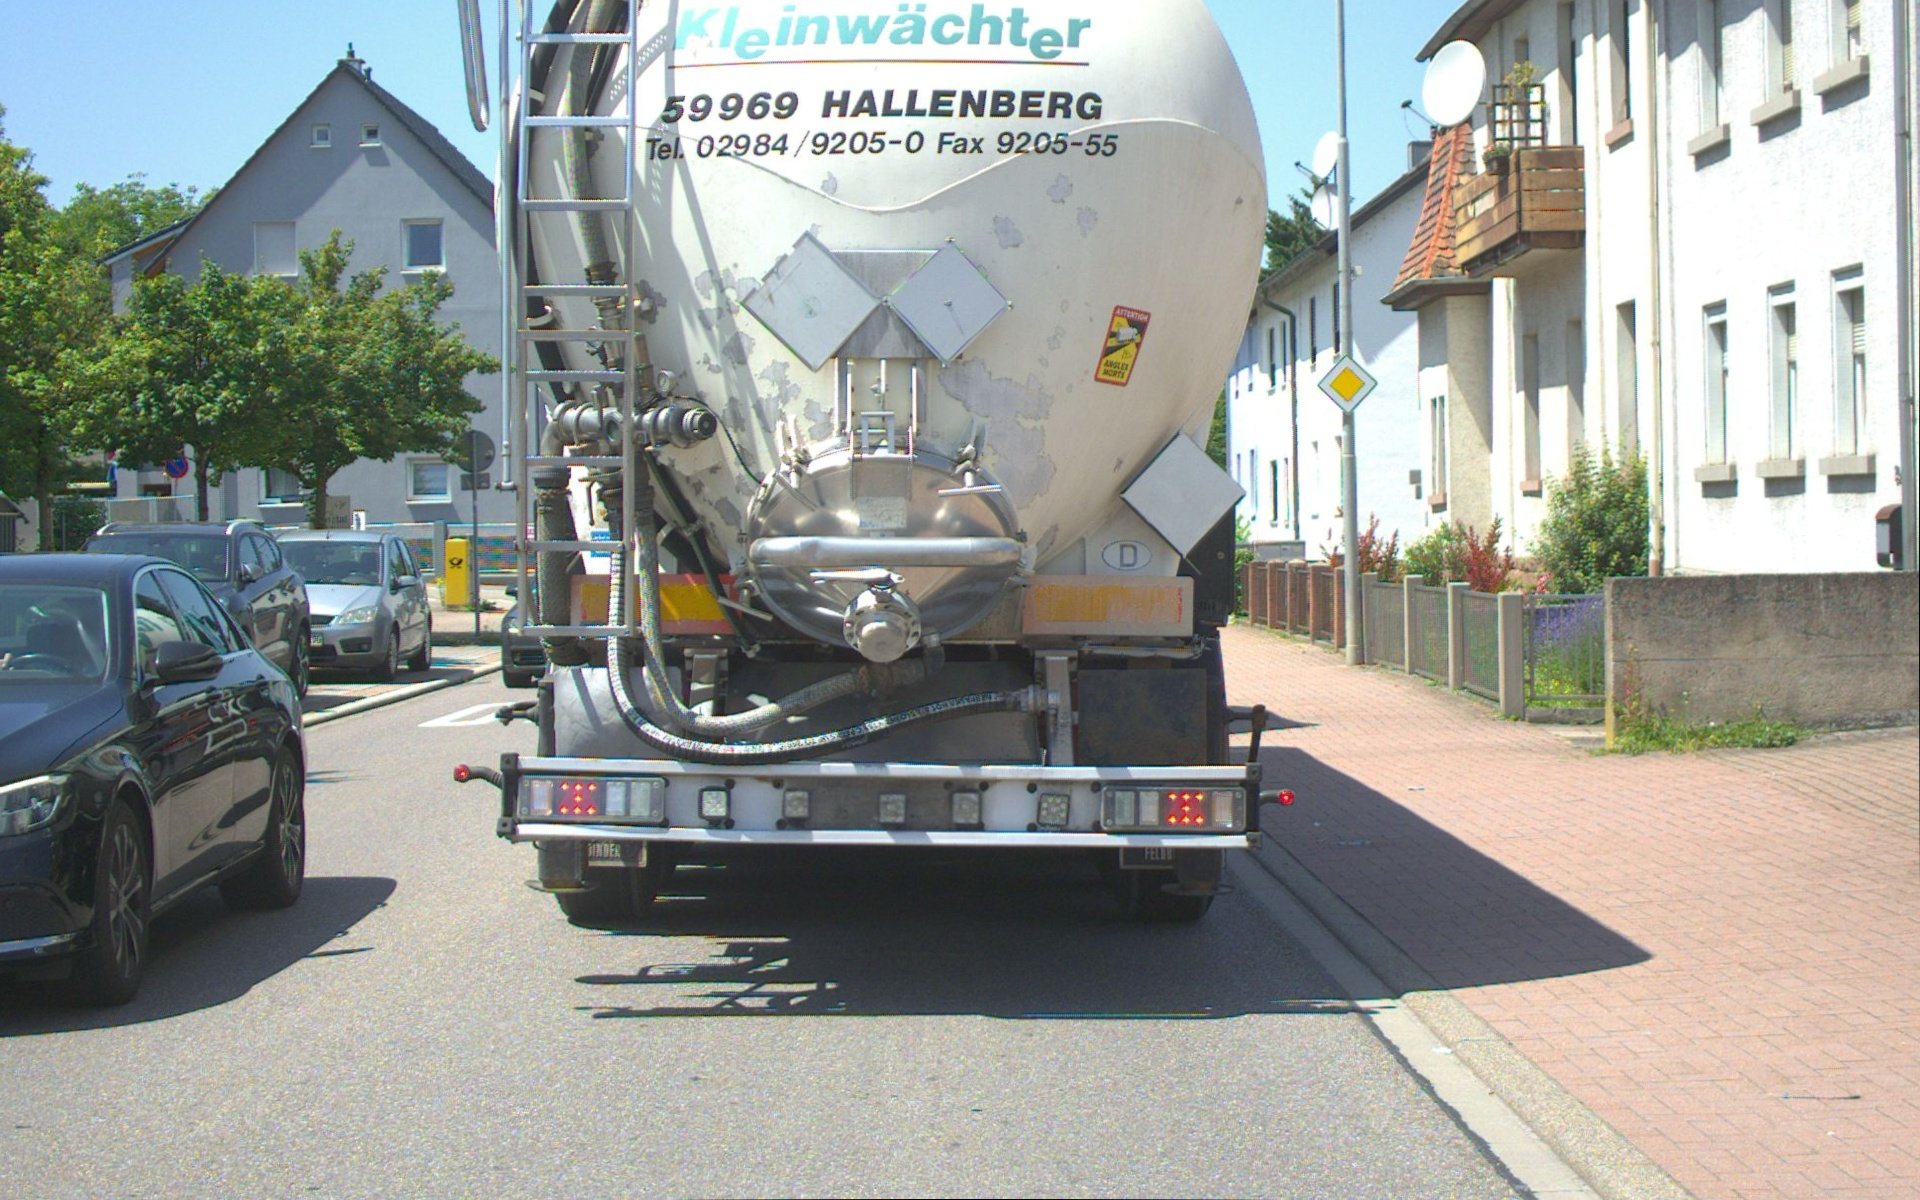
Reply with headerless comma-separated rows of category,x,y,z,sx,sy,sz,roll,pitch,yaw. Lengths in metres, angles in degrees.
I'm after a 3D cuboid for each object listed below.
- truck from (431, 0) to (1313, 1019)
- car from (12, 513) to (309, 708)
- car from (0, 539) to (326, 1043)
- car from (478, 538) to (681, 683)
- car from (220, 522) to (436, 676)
truck,-0.403,-0.860,15.140,2.641,4.002,9.562,0,1,-2
car,-6.991,0.044,30.434,1.691,1.614,3.998,0,1,0
car,-3.563,0.542,12.446,1.730,1.455,4.695,-1,1,-1
car,-4.024,0.069,36.885,1.706,1.365,3.869,-3,1,0
car,-6.788,-0.053,37.246,1.697,1.575,3.838,0,1,-1
